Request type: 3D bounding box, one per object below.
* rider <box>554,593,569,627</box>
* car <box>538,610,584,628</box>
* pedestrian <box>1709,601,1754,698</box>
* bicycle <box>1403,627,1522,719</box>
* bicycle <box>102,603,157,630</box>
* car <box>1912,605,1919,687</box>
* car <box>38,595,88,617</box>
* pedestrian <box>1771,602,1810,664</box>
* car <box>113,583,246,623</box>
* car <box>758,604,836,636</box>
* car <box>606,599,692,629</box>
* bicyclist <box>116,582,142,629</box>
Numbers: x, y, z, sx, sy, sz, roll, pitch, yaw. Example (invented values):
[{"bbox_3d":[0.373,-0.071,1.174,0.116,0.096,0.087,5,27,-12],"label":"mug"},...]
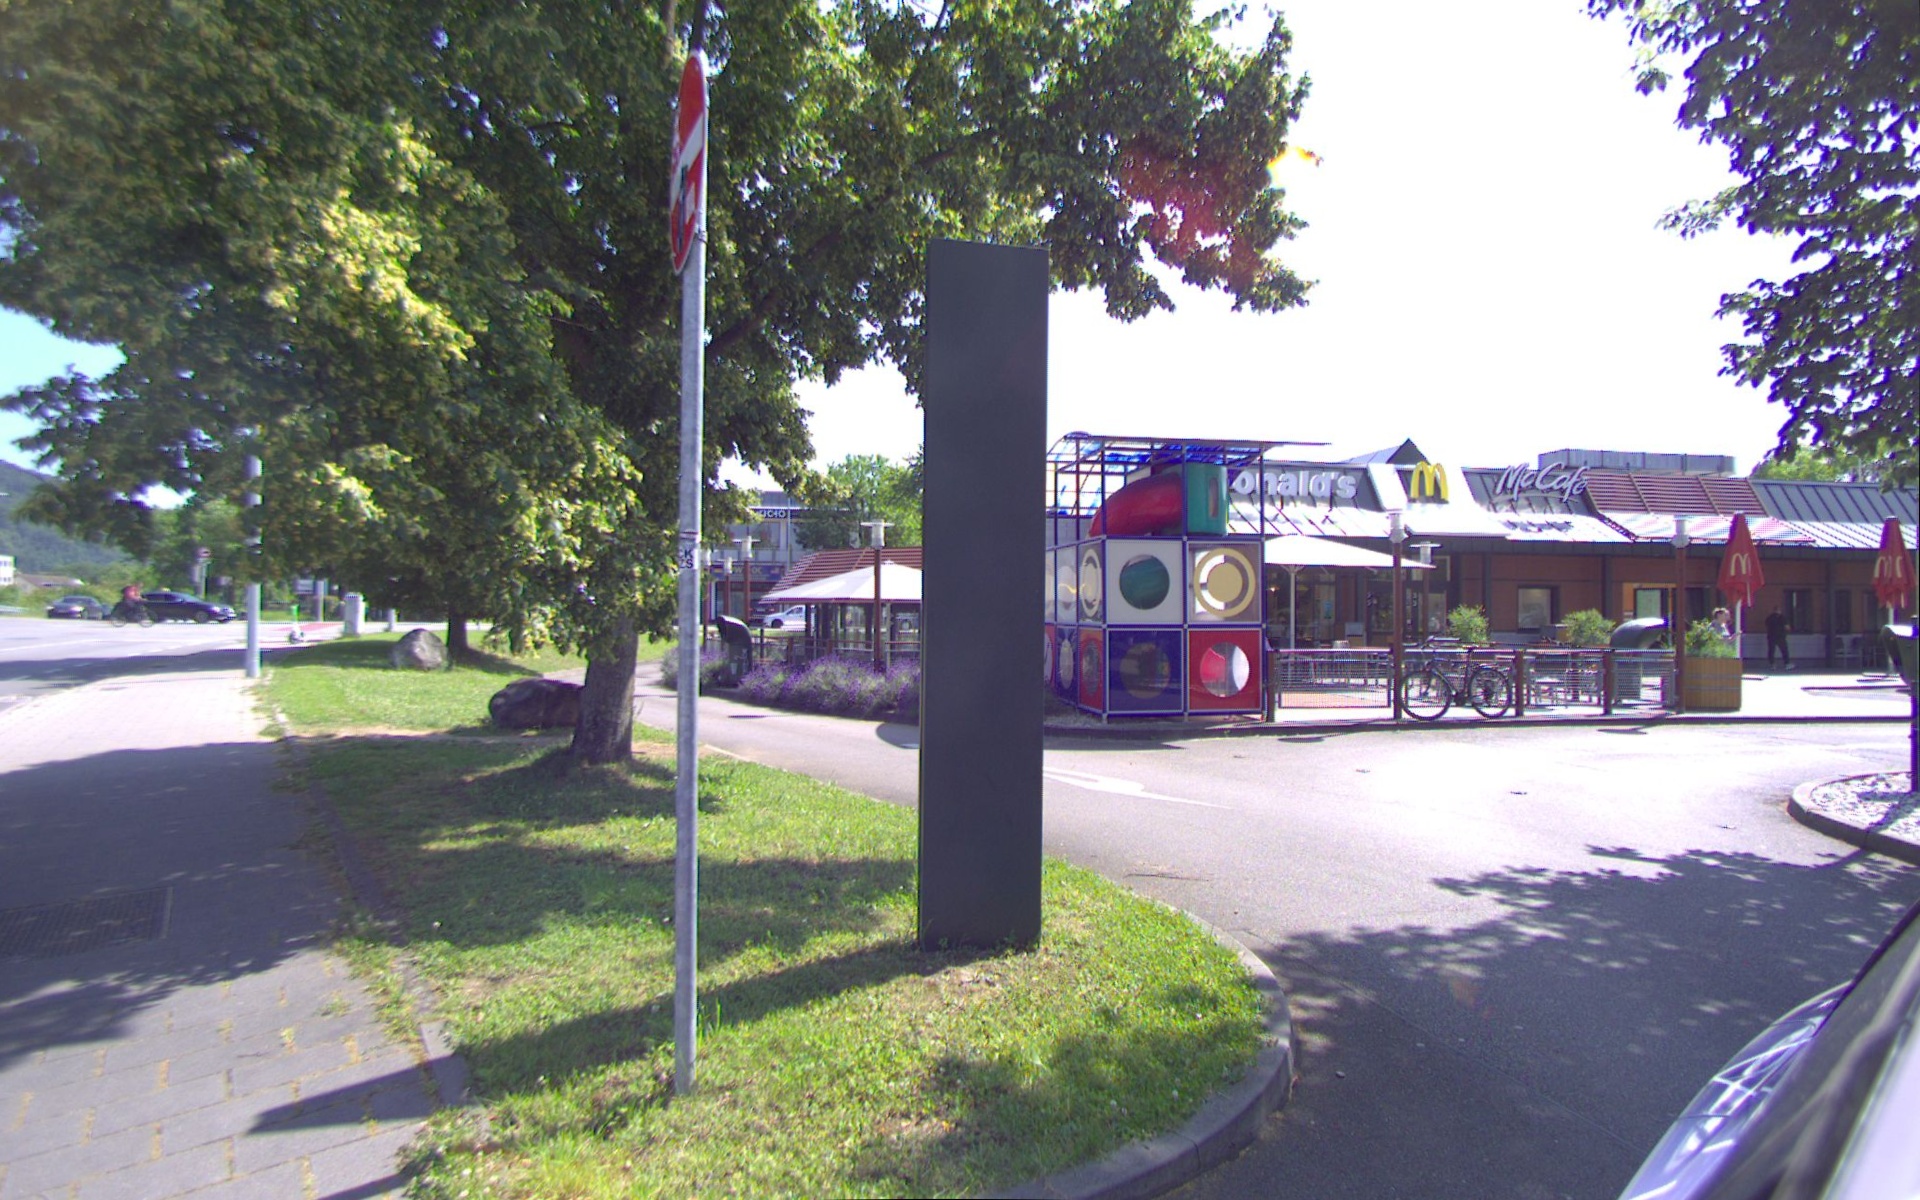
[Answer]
[{"bbox_3d":[-22.365,0.569,56.781,0.671,1.835,0.549,1,2,-10],"label":"rider"},{"bbox_3d":[-22.374,1.072,56.810,2.333,0.913,0.577,1,2,-10],"label":"car"},{"bbox_3d":[13.065,0.819,17.140,0.594,1.587,0.563,0,0,39],"label":"pedestrian"},{"bbox_3d":[7.050,1.013,14.205,1.580,1.201,0.310,-1,2,-7],"label":"bicycle"},{"bbox_3d":[-34.309,0.674,41.840,1.690,1.056,0.584,1,2,-9],"label":"bicycle"},{"bbox_3d":[21.841,0.968,20.247,3.983,1.678,1.927,0,0,41],"label":"car"},{"bbox_3d":[-54.452,0.356,61.476,1.579,1.271,3.685,1,0,-31],"label":"car"},{"bbox_3d":[22.690,0.889,27.651,0.610,1.672,0.543,1,-1,-10],"label":"pedestrian"},{"bbox_3d":[-36.170,0.157,47.012,4.519,1.776,1.888,1,0,-10],"label":"car"},{"bbox_3d":[-9.183,1.102,56.979,4.280,1.646,1.836,1,3,-10],"label":"car"},{"bbox_3d":[-16.941,0.760,55.277,4.280,1.509,1.836,1,3,-10],"label":"car"},{"bbox_3d":[-34.330,0.214,41.807,0.643,1.919,0.554,1,2,-9],"label":"bicyclist"}]
